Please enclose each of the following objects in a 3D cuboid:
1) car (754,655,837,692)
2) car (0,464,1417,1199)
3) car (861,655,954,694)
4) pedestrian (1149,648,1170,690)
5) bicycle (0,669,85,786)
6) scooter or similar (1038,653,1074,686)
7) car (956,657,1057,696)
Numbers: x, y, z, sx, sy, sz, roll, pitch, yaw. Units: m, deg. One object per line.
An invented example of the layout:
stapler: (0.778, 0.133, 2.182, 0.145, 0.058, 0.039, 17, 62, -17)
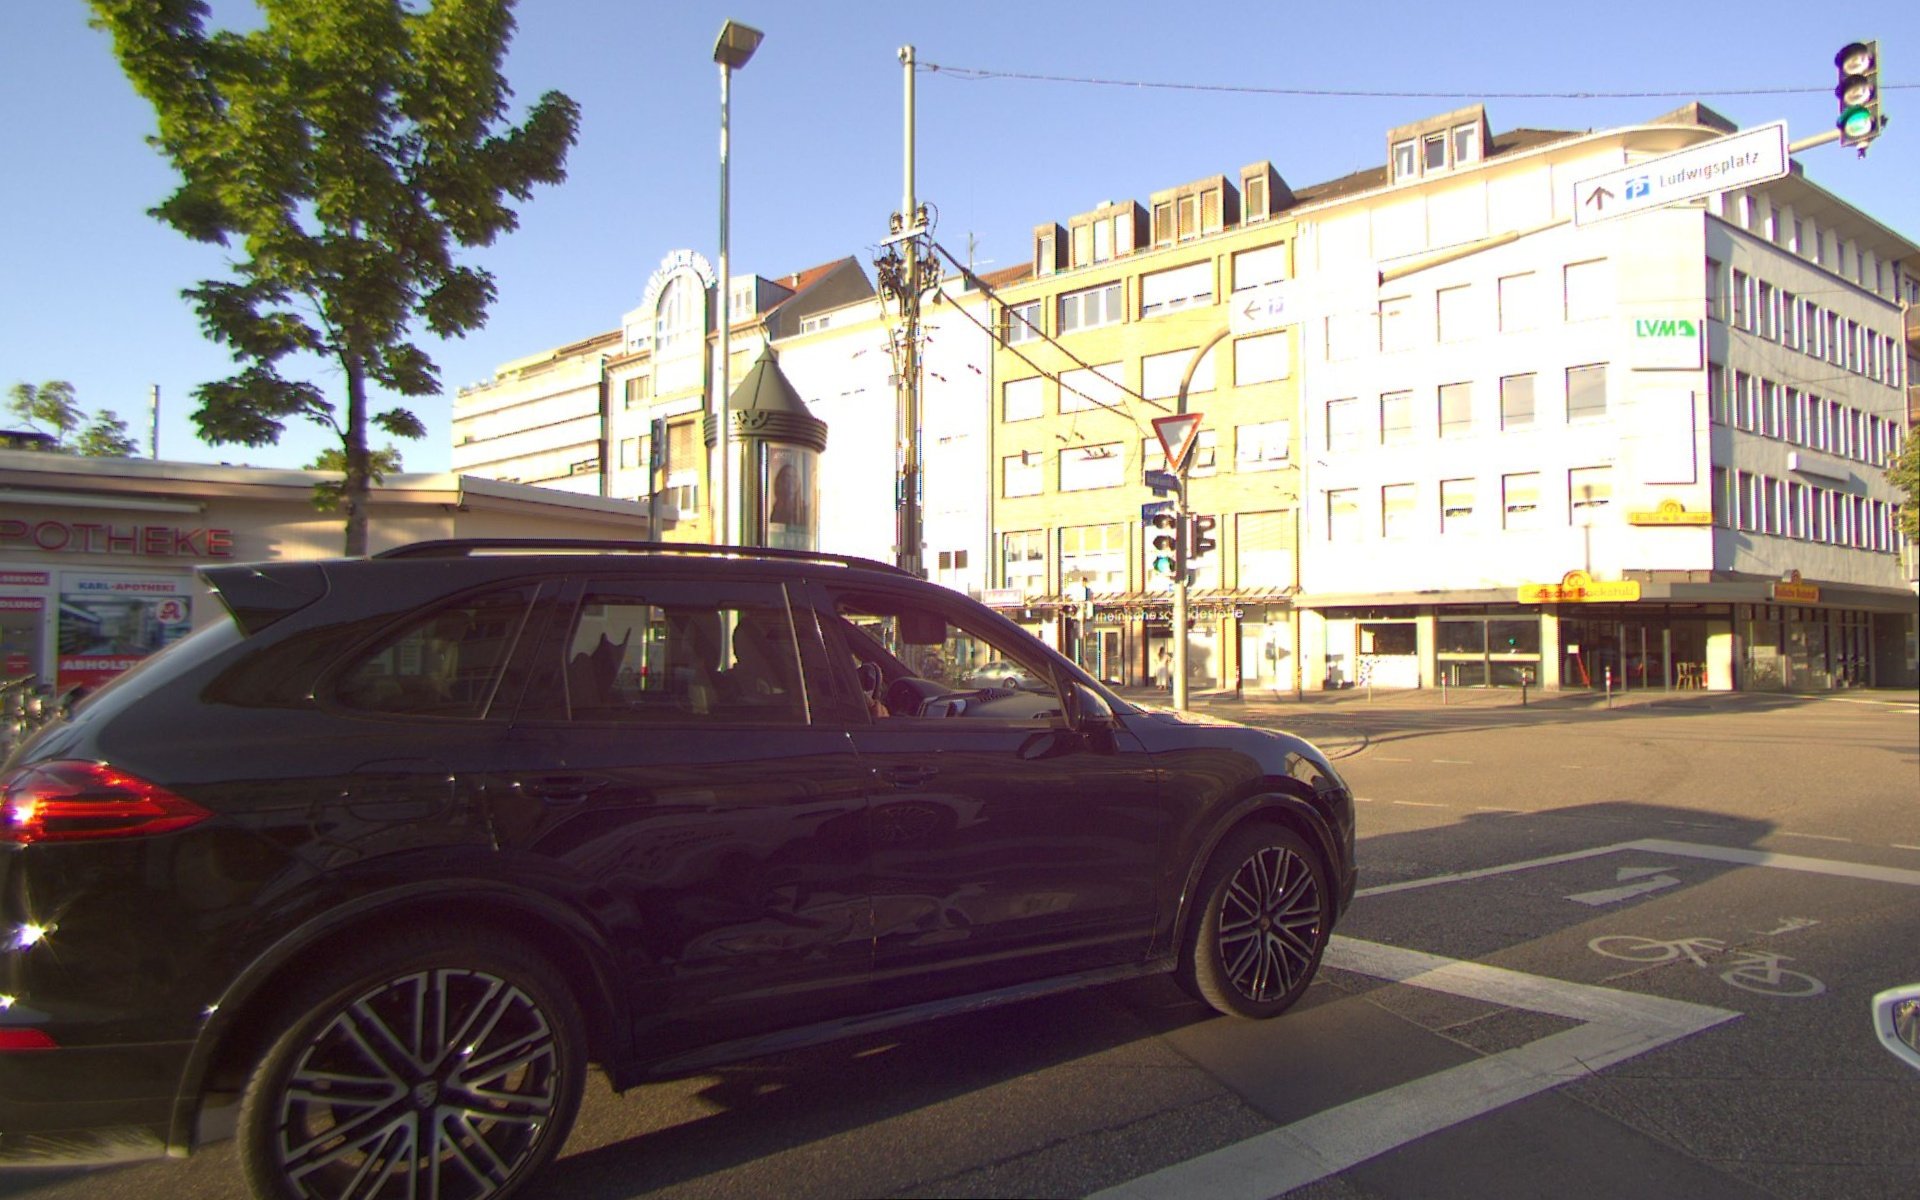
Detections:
car: (-7.111, 3.160, 43.391, 3.334, 1.483, 1.631, -3, -1, 36)
car: (-0.504, 0.686, 3.738, 4.517, 1.720, 1.791, 2, -3, -31)
car: (-2.078, 2.918, 39.452, 3.334, 1.371, 1.631, -3, -1, 36)
pedestrian: (7.307, 2.513, 36.769, 0.613, 1.491, 0.544, -2, 0, 20)
bicycle: (-9.911, 1.312, 10.722, 0.443, 1.128, 1.858, 2, -4, -29)
scooter or similar: (3.848, 2.780, 40.277, 1.443, 1.275, 0.394, -3, -2, 37)
car: (1.697, 2.793, 36.957, 3.334, 1.270, 1.631, -3, -1, 36)
